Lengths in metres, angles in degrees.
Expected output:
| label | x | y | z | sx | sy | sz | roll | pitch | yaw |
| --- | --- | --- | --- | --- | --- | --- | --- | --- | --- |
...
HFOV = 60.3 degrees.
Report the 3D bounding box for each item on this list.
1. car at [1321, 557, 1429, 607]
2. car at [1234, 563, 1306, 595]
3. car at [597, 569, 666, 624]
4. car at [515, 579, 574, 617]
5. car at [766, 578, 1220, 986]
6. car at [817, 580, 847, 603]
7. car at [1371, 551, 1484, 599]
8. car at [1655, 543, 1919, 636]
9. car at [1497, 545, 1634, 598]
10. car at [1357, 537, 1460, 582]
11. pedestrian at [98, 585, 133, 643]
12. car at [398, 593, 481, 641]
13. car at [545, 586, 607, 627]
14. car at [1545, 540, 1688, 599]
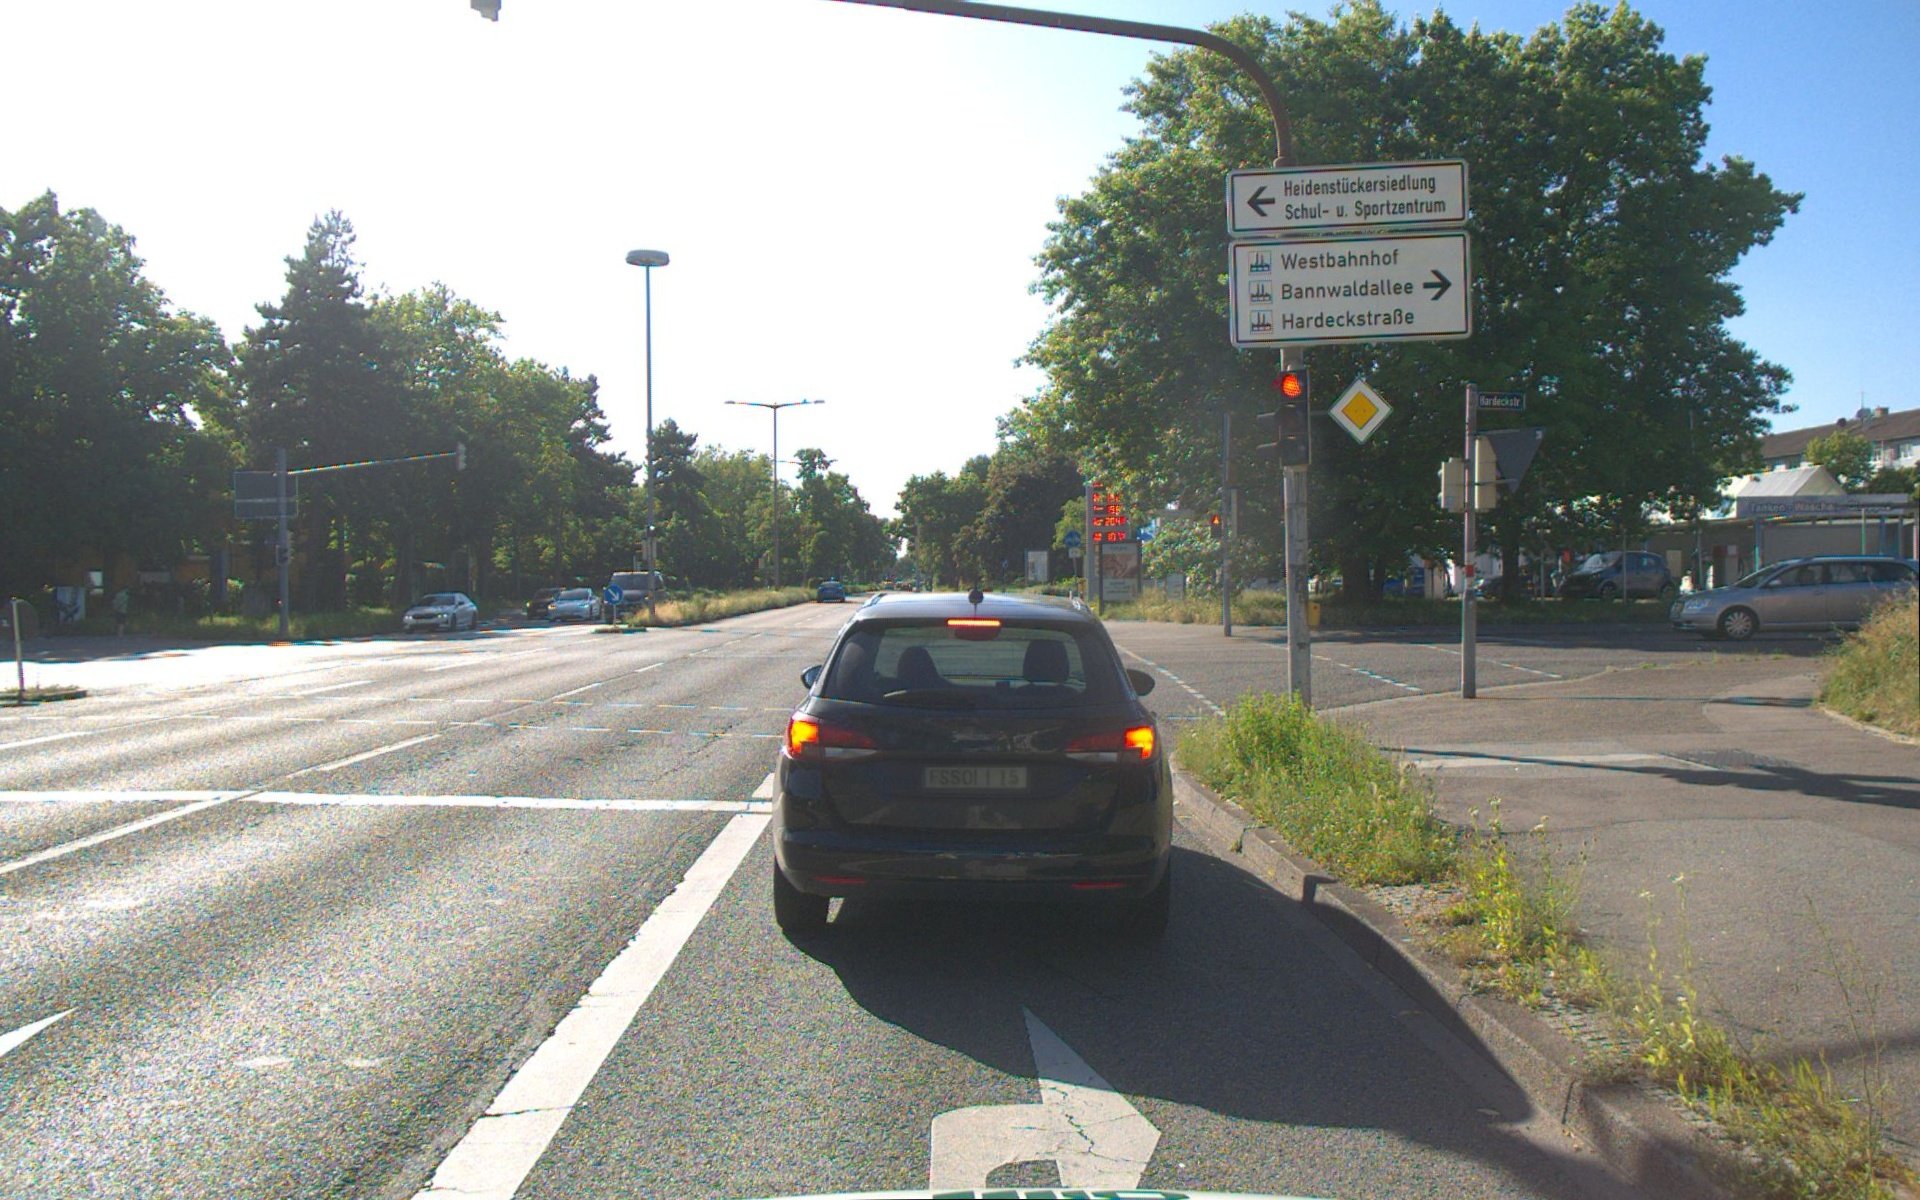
| label | x | y | z | sx | sy | sz | roll | pitch | yaw |
| --- | --- | --- | --- | --- | --- | --- | --- | --- | --- |
| car | 15.301 | -0.654 | 60.946 | 3.668 | 1.714 | 1.689 | 1 | 0 | -28 |
| car | 17.542 | -1.181 | 93.647 | 3.638 | 1.714 | 1.703 | 1 | 0 | -4 |
| car | -12.941 | -0.122 | 65.331 | 1.953 | 2.049 | 3.999 | 1 | 0 | -1 |
| car | -20.931 | -0.119 | 83.472 | 1.953 | 1.780 | 3.999 | -2 | 1 | -1 |
| car | 0.093 | 0.685 | 8.164 | 1.720 | 1.535 | 3.807 | 0 | 0 | -1 |
| car | -8.949 | -0.595 | 116.217 | 1.850 | 1.579 | 3.999 | -1 | 0 | -1 |
| car | 16.545 | -0.873 | 58.493 | 3.800 | 1.590 | 1.785 | 1 | 0 | -33 |
| car | 15.452 | -0.179 | 30.487 | 4.519 | 1.601 | 2.002 | -1 | -1 | 10 |
| car | 18.871 | -0.880 | 51.552 | 3.780 | 1.508 | 1.794 | 1 | 0 | -21 |
| car | 18.130 | -1.626 | 66.925 | 3.638 | 1.714 | 1.703 | 1 | 0 | -4 |
| pedestrian | -27.357 | 0.445 | 53.587 | 0.828 | 1.867 | 0.550 | -1 | 0 | 3 |
| car | -19.797 | 0.639 | 63.118 | 1.826 | 1.713 | 4.259 | 1 | 0 | -1 |
| car | -16.910 | 0.272 | 73.043 | 1.826 | 1.713 | 3.999 | 1 | 0 | -1 |
| car | 19.717 | -0.891 | 49.677 | 3.780 | 1.640 | 1.794 | 1 | 0 | -21 |
